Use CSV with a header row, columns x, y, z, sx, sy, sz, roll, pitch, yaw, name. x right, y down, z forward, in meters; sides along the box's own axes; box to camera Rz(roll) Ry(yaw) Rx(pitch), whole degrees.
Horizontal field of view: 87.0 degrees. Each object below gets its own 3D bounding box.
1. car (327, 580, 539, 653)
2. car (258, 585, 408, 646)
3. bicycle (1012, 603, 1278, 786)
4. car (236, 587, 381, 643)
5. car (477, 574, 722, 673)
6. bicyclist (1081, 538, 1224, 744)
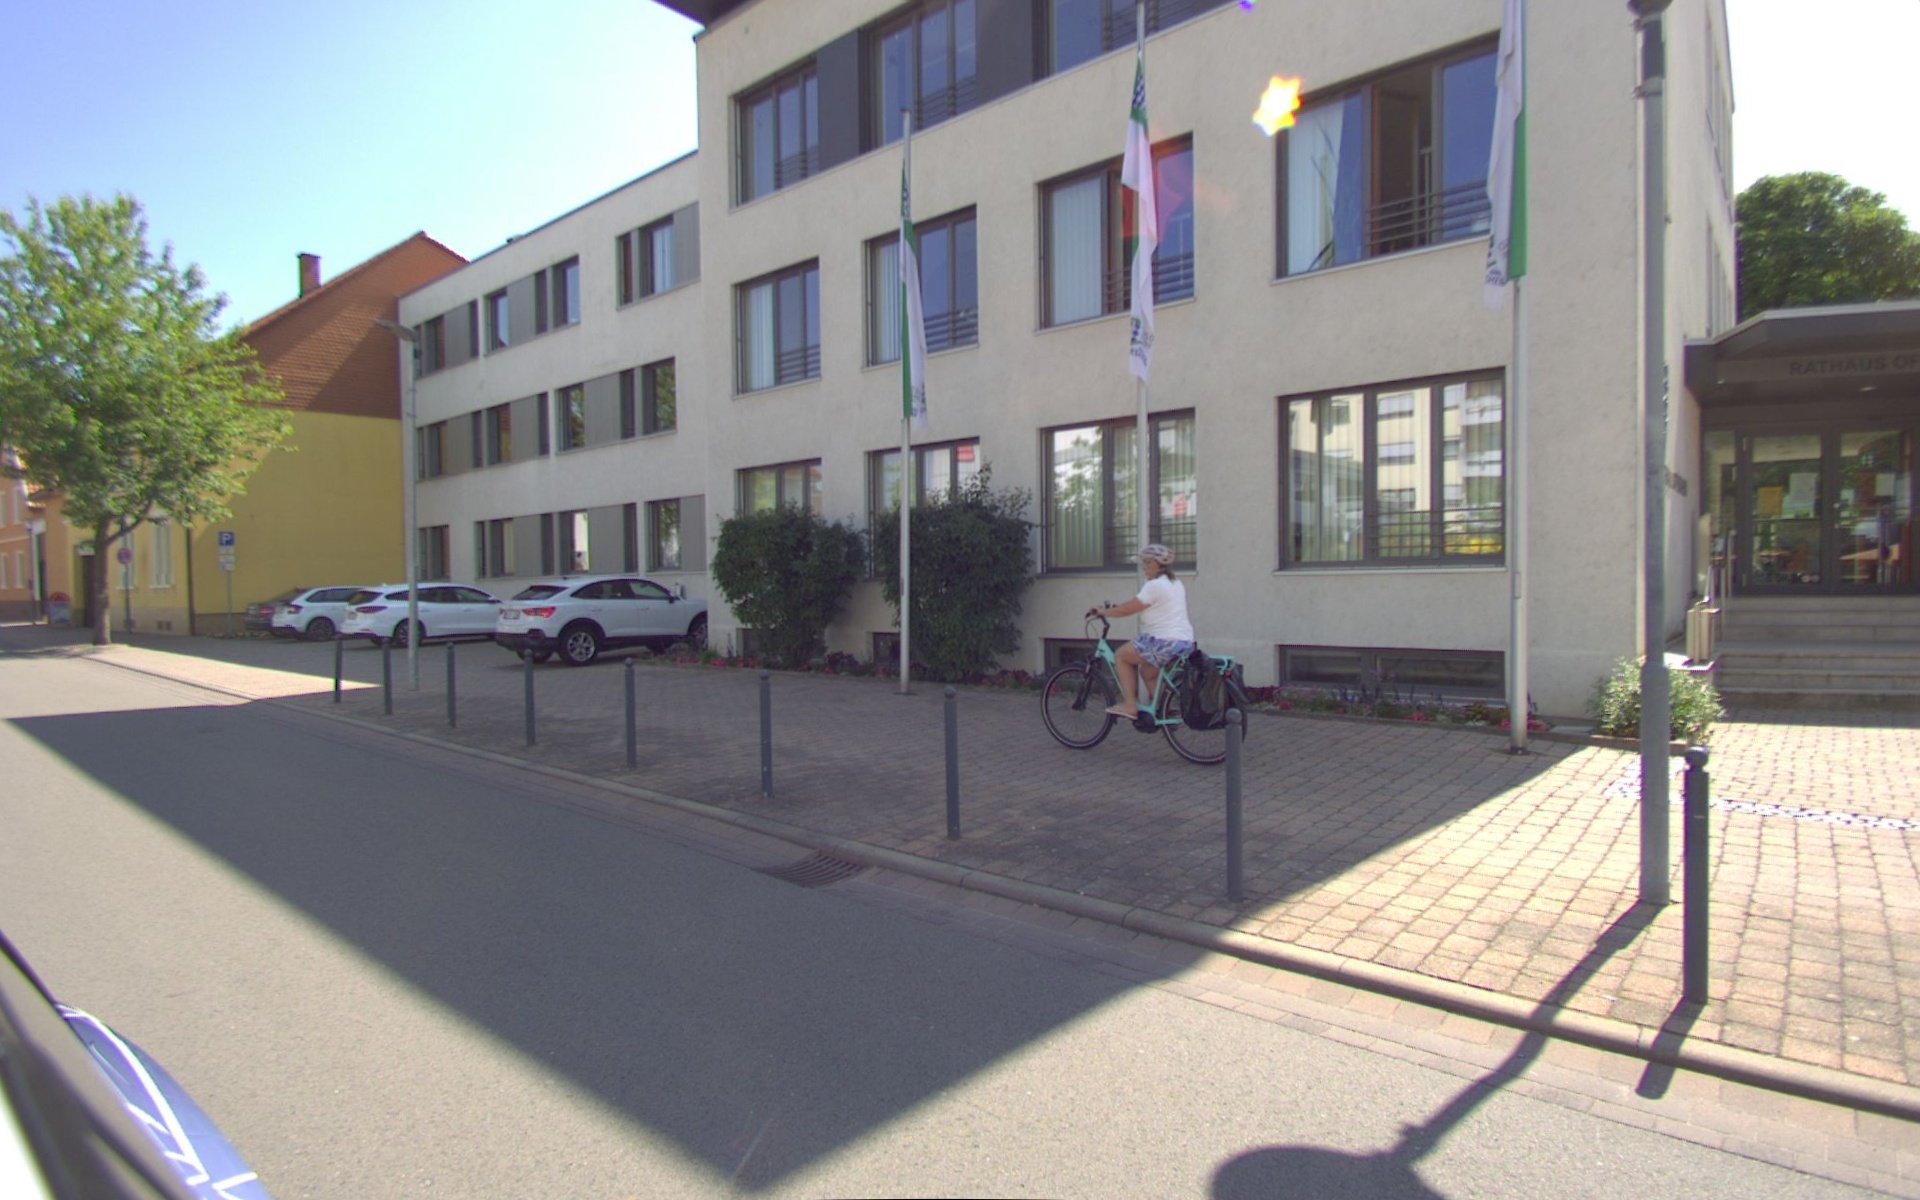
x,y,z,sx,sy,sz,roll,pitch,yaw,name
-12.653,0.335,24.525,1.513,1.489,4.268,0,3,41,car
-16.965,0.383,27.475,1.642,1.461,3.098,0,2,42,car
1.434,0.674,8.073,1.970,1.261,0.702,0,3,39,bicycle
-18.592,0.398,28.971,1.373,1.412,3.217,0,2,39,car
-6.613,0.350,18.878,1.747,1.559,3.948,0,2,39,car
1.531,0.294,8.023,0.870,1.518,0.707,0,1,39,bicyclist
